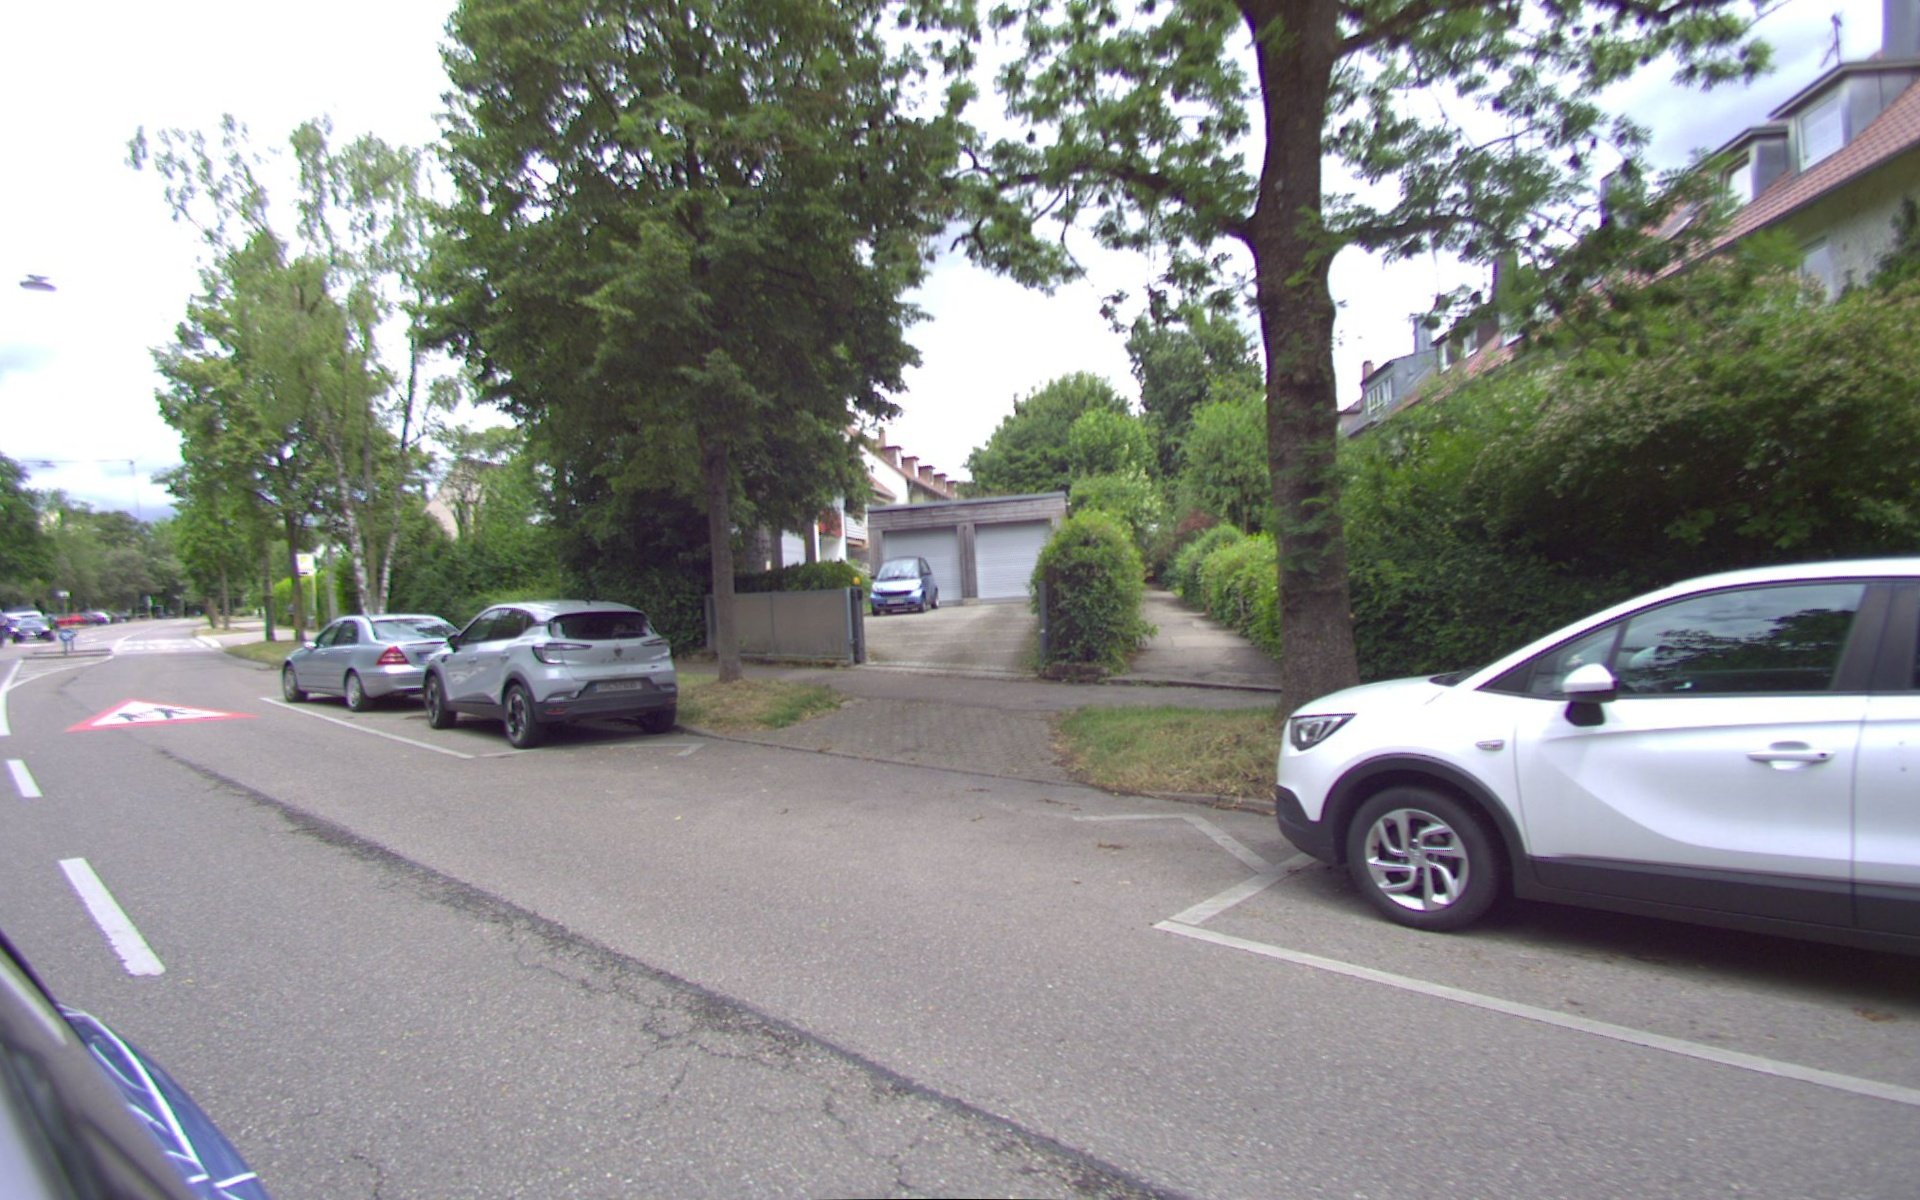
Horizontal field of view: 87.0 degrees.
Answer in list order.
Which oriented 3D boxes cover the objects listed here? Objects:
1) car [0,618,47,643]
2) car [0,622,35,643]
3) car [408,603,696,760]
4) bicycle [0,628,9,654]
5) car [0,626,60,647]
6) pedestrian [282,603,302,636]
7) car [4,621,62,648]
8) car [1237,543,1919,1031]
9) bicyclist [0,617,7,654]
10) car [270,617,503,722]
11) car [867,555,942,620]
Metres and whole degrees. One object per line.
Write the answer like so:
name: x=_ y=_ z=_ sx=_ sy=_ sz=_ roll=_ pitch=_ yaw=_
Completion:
car: x=-75.744 y=2.445 z=80.497 sx=1.852 sy=1.771 sz=4.180 roll=-2 pitch=2 yaw=30
car: x=-73.841 y=2.563 z=77.821 sx=1.714 sy=1.449 sz=3.807 roll=-2 pitch=2 yaw=40
car: x=-5.019 y=0.854 z=12.137 sx=1.715 sy=1.549 sz=4.192 roll=0 pitch=-1 yaw=-45
bicycle: x=-46.627 y=2.001 z=49.067 sx=1.878 sy=1.246 sz=0.639 roll=-2 pitch=0 yaw=44
car: x=-78.476 y=3.087 z=85.181 sx=1.654 sy=1.445 sz=3.807 roll=-2 pitch=2 yaw=40
pedestrian: x=-34.930 y=1.012 z=52.911 sx=0.684 sy=1.723 sz=0.779 roll=-2 pitch=0 yaw=-45
car: x=-52.713 y=1.913 z=57.628 sx=1.831 sy=1.384 sz=4.086 roll=-3 pitch=1 yaw=-35
car: x=3.458 y=0.615 z=4.157 sx=4.140 sy=1.590 sz=1.717 roll=-2 pitch=-1 yaw=42
bicyclist: x=-46.974 y=1.719 z=49.391 sx=0.628 sy=1.792 sz=0.638 roll=-1 pitch=0 yaw=43
car: x=-9.172 y=1.009 z=16.026 sx=4.467 sy=1.427 sz=1.718 roll=-2 pitch=-1 yaw=39
car: x=-1.491 y=-0.394 z=28.214 sx=1.405 sy=1.616 sz=3.367 roll=-1 pitch=3 yaw=8
